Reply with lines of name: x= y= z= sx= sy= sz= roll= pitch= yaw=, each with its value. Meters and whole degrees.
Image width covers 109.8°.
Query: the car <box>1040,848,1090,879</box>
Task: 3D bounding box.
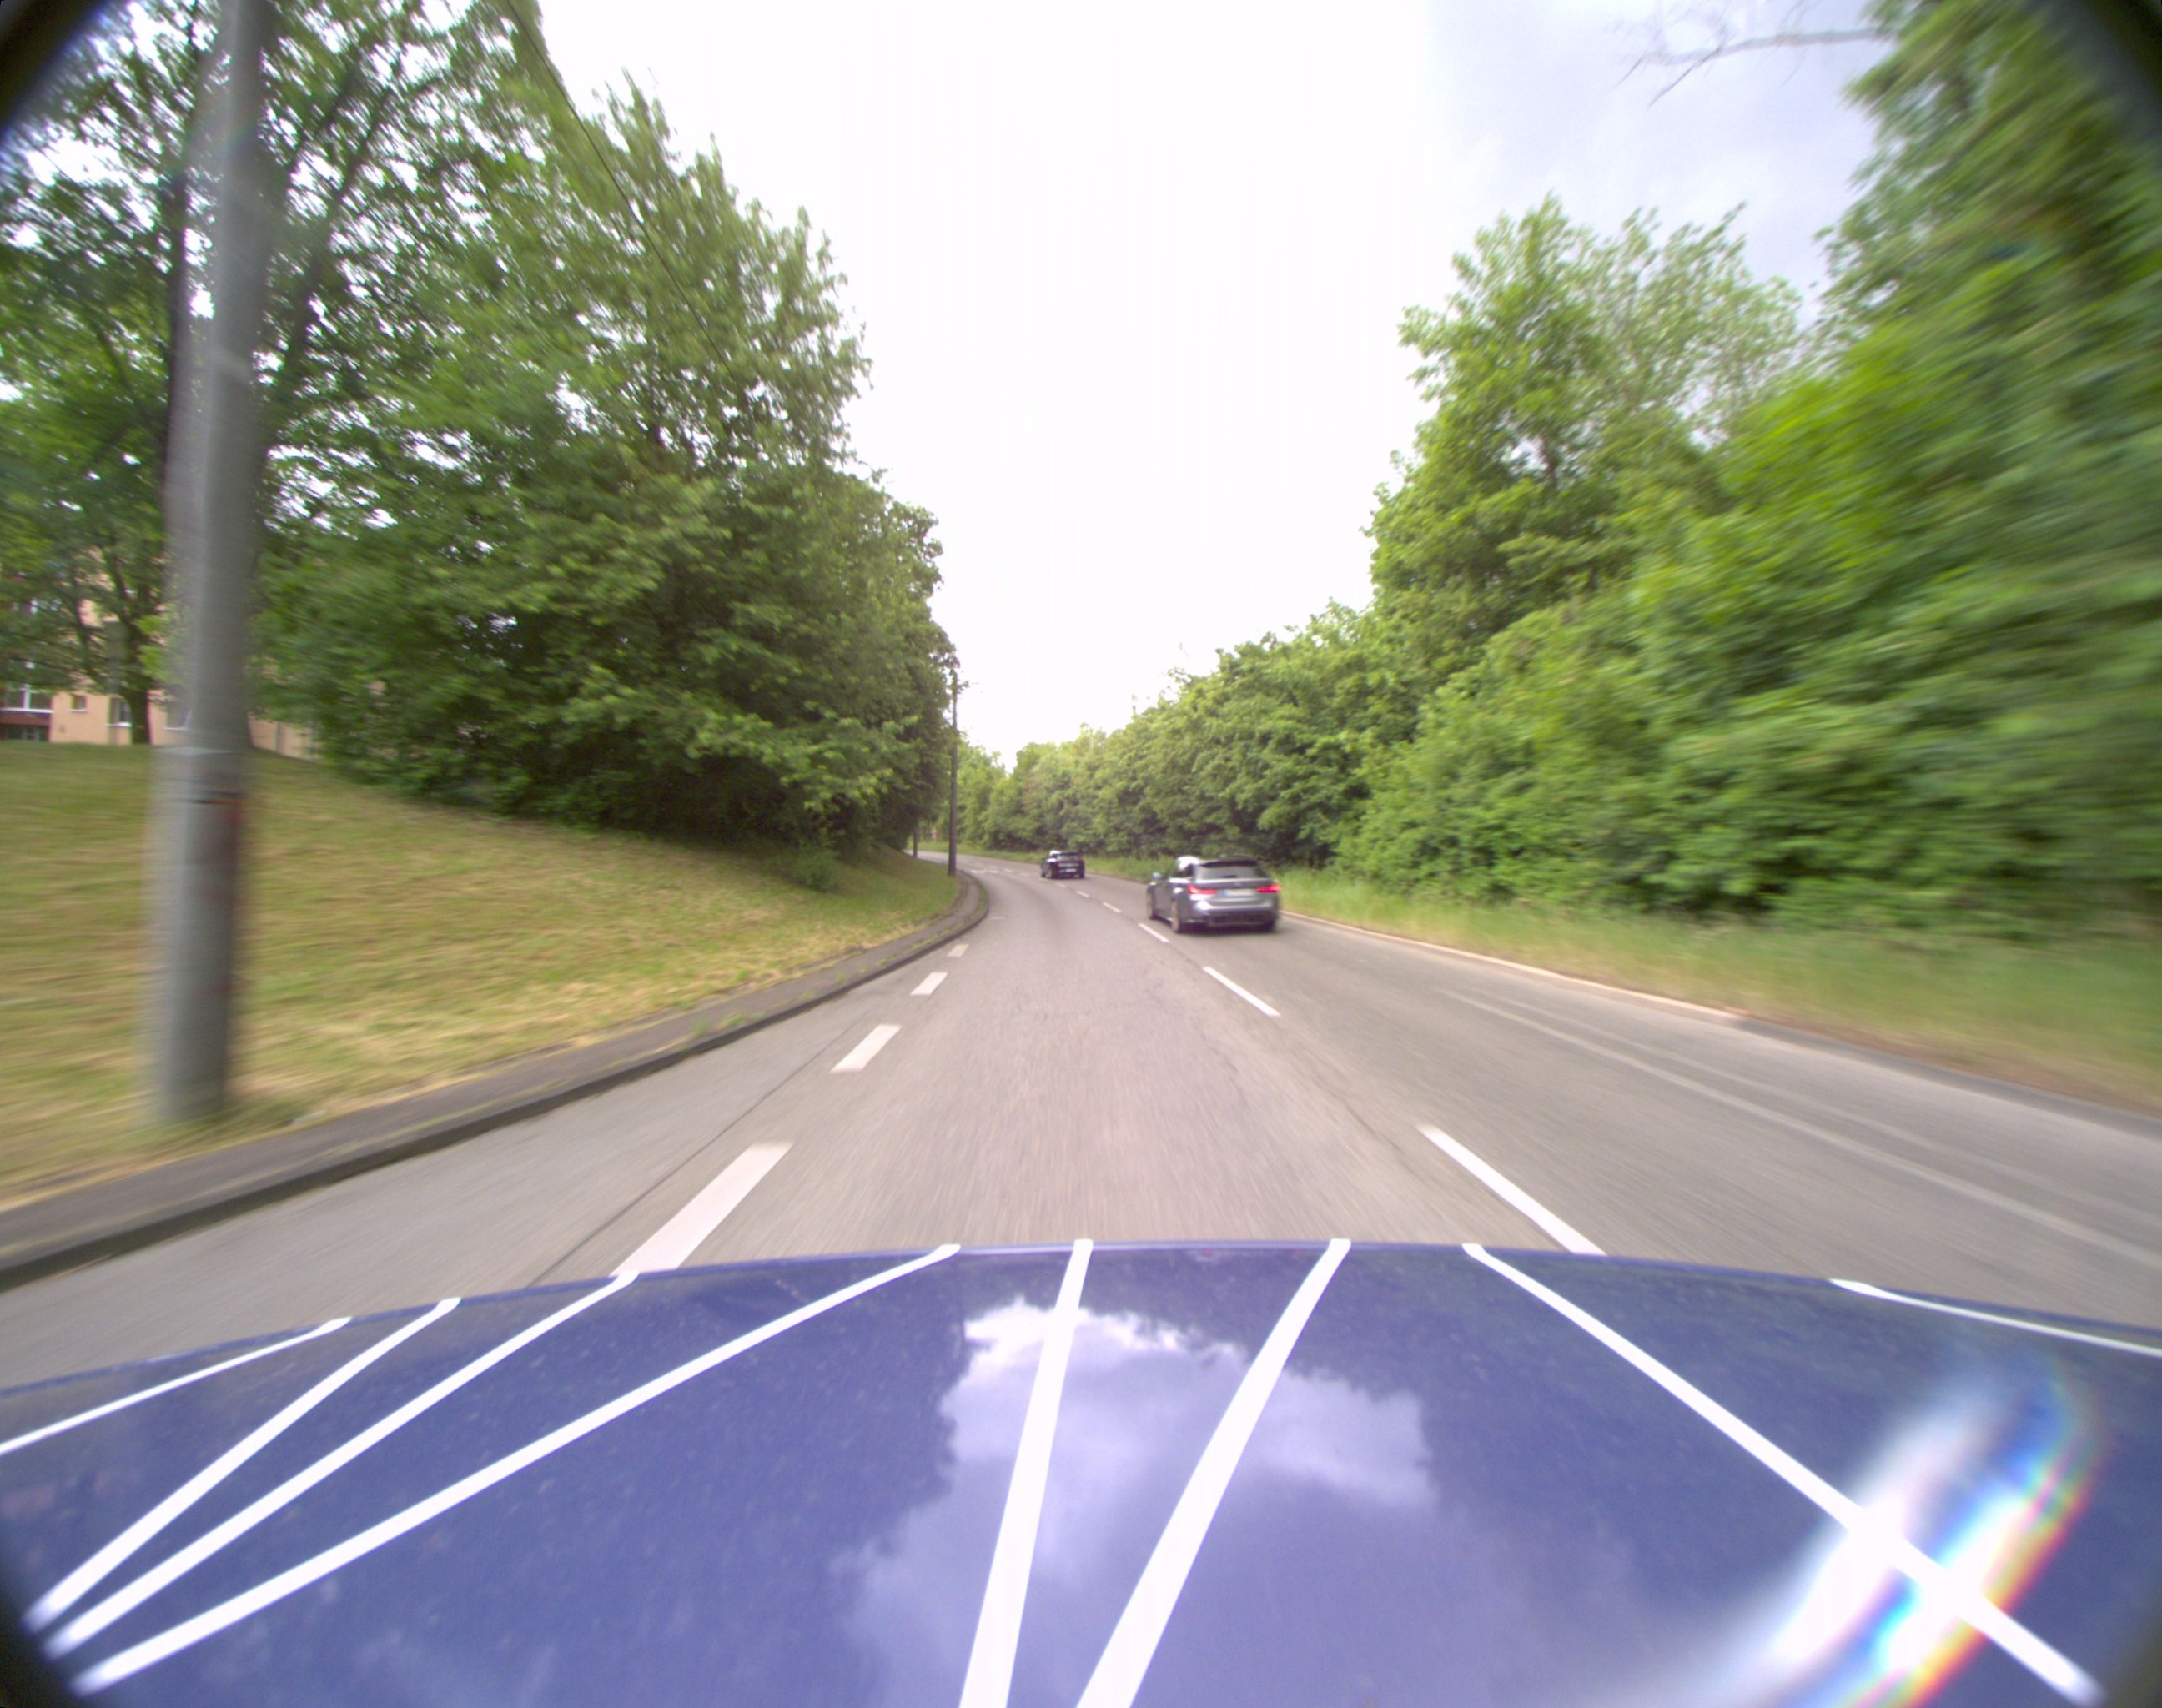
car: x=-0.877 y=0.447 z=39.358 sx=1.809 sy=1.426 sz=4.655 roll=-2 pitch=1 yaw=-11

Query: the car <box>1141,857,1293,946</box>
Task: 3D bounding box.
car: x=2.560 y=0.830 z=15.569 sx=1.903 sy=1.346 sz=4.839 roll=-3 pitch=1 yaw=-4
